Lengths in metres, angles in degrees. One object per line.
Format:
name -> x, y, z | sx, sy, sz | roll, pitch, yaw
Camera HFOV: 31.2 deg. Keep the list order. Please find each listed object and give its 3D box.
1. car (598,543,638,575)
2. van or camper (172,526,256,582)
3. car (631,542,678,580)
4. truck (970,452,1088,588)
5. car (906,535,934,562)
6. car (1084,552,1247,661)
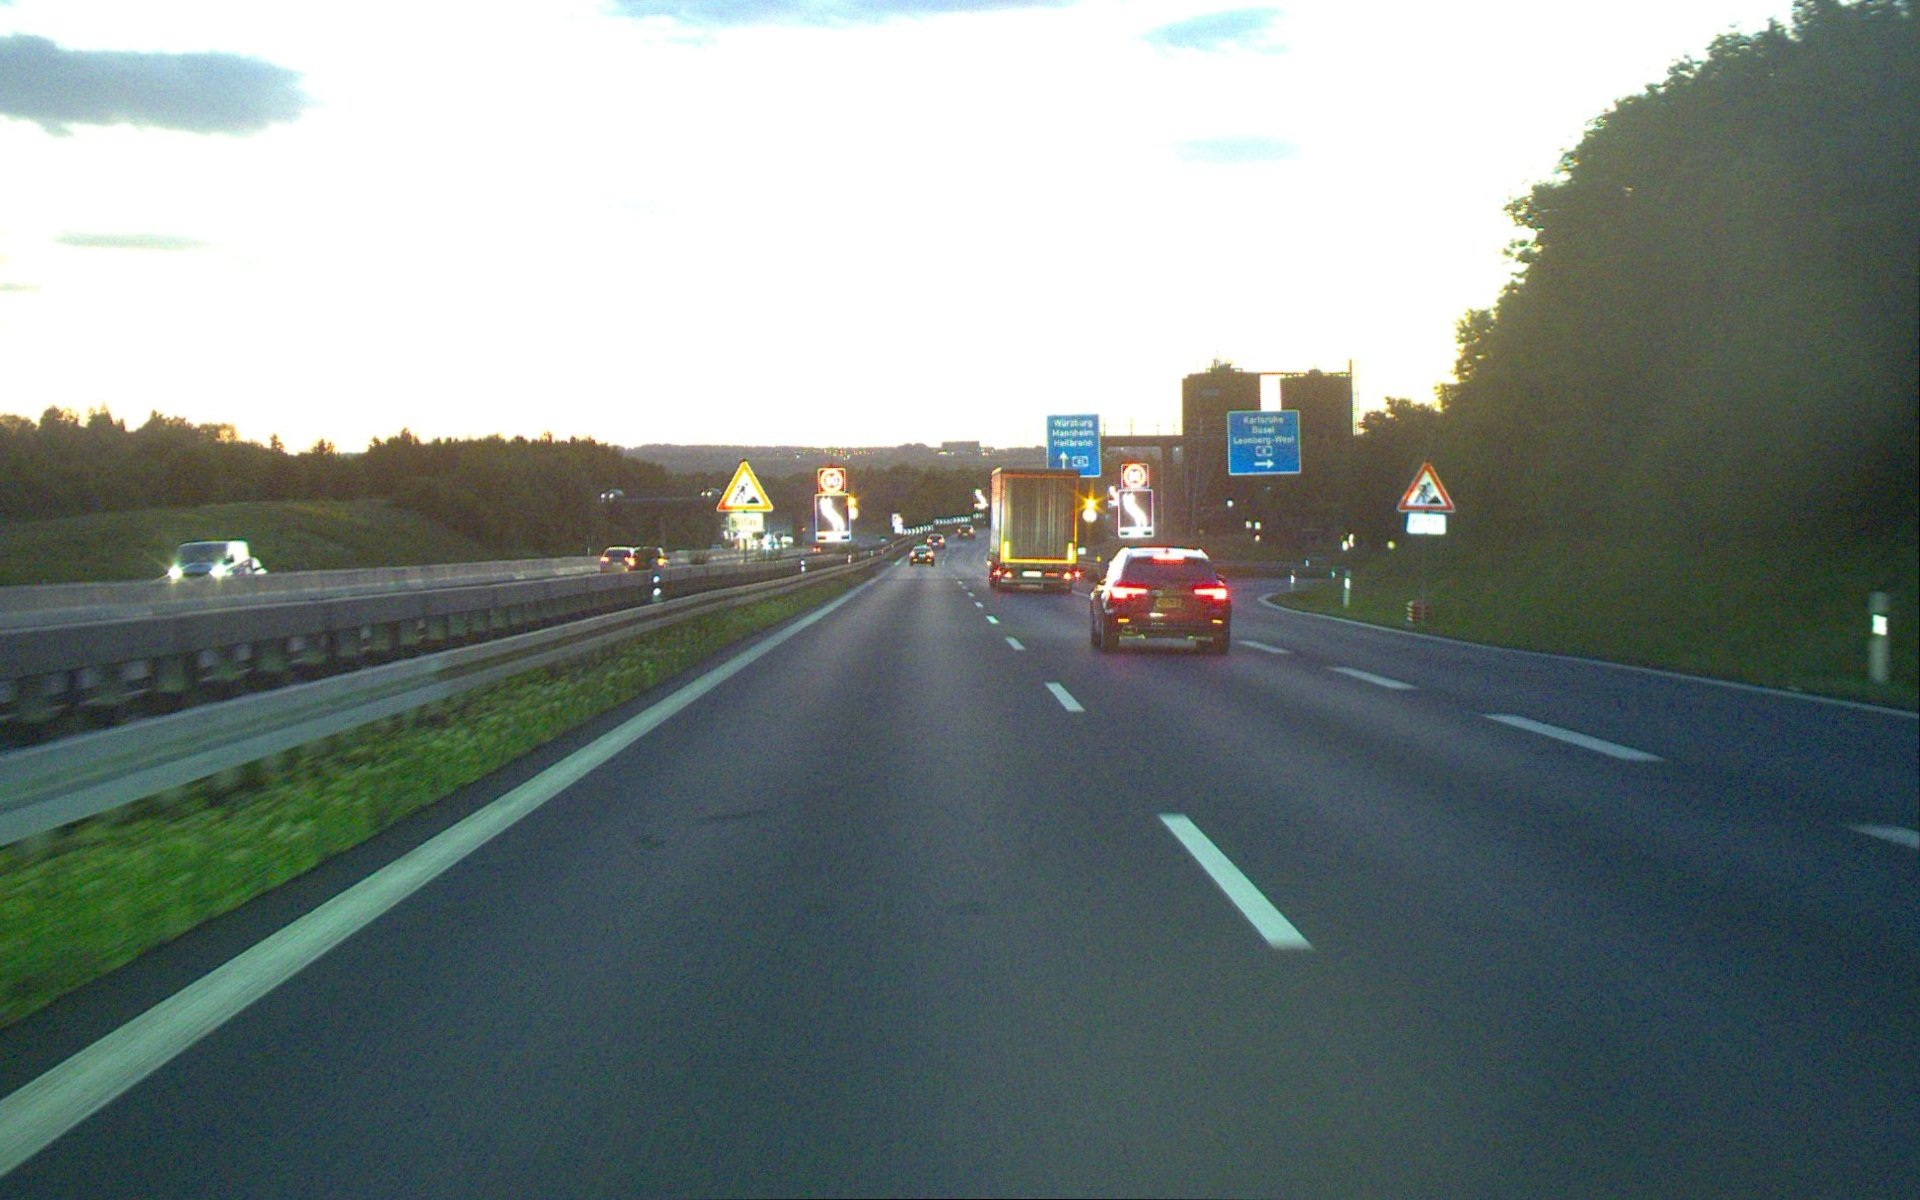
car -> -16.921, -2.025, 170.187 | 1.638, 1.541, 3.395 | -1, 1, 0
van or camper -> -25.836, -1.615, 119.160 | 1.890, 1.900, 5.541 | 0, 1, -2
car -> -13.345, -1.699, 150.313 | 1.713, 1.600, 3.722 | -1, 1, 0
truck -> 2.240, -2.631, 115.268 | 3.509, 4.286, 9.892 | -1, 1, -1
car -> -2.995, -3.872, 258.045 | 1.993, 2.007, 4.000 | -1, 1, -1
car -> 2.861, 0.067, 48.680 | 1.915, 1.437, 4.000 | -1, 1, -2
